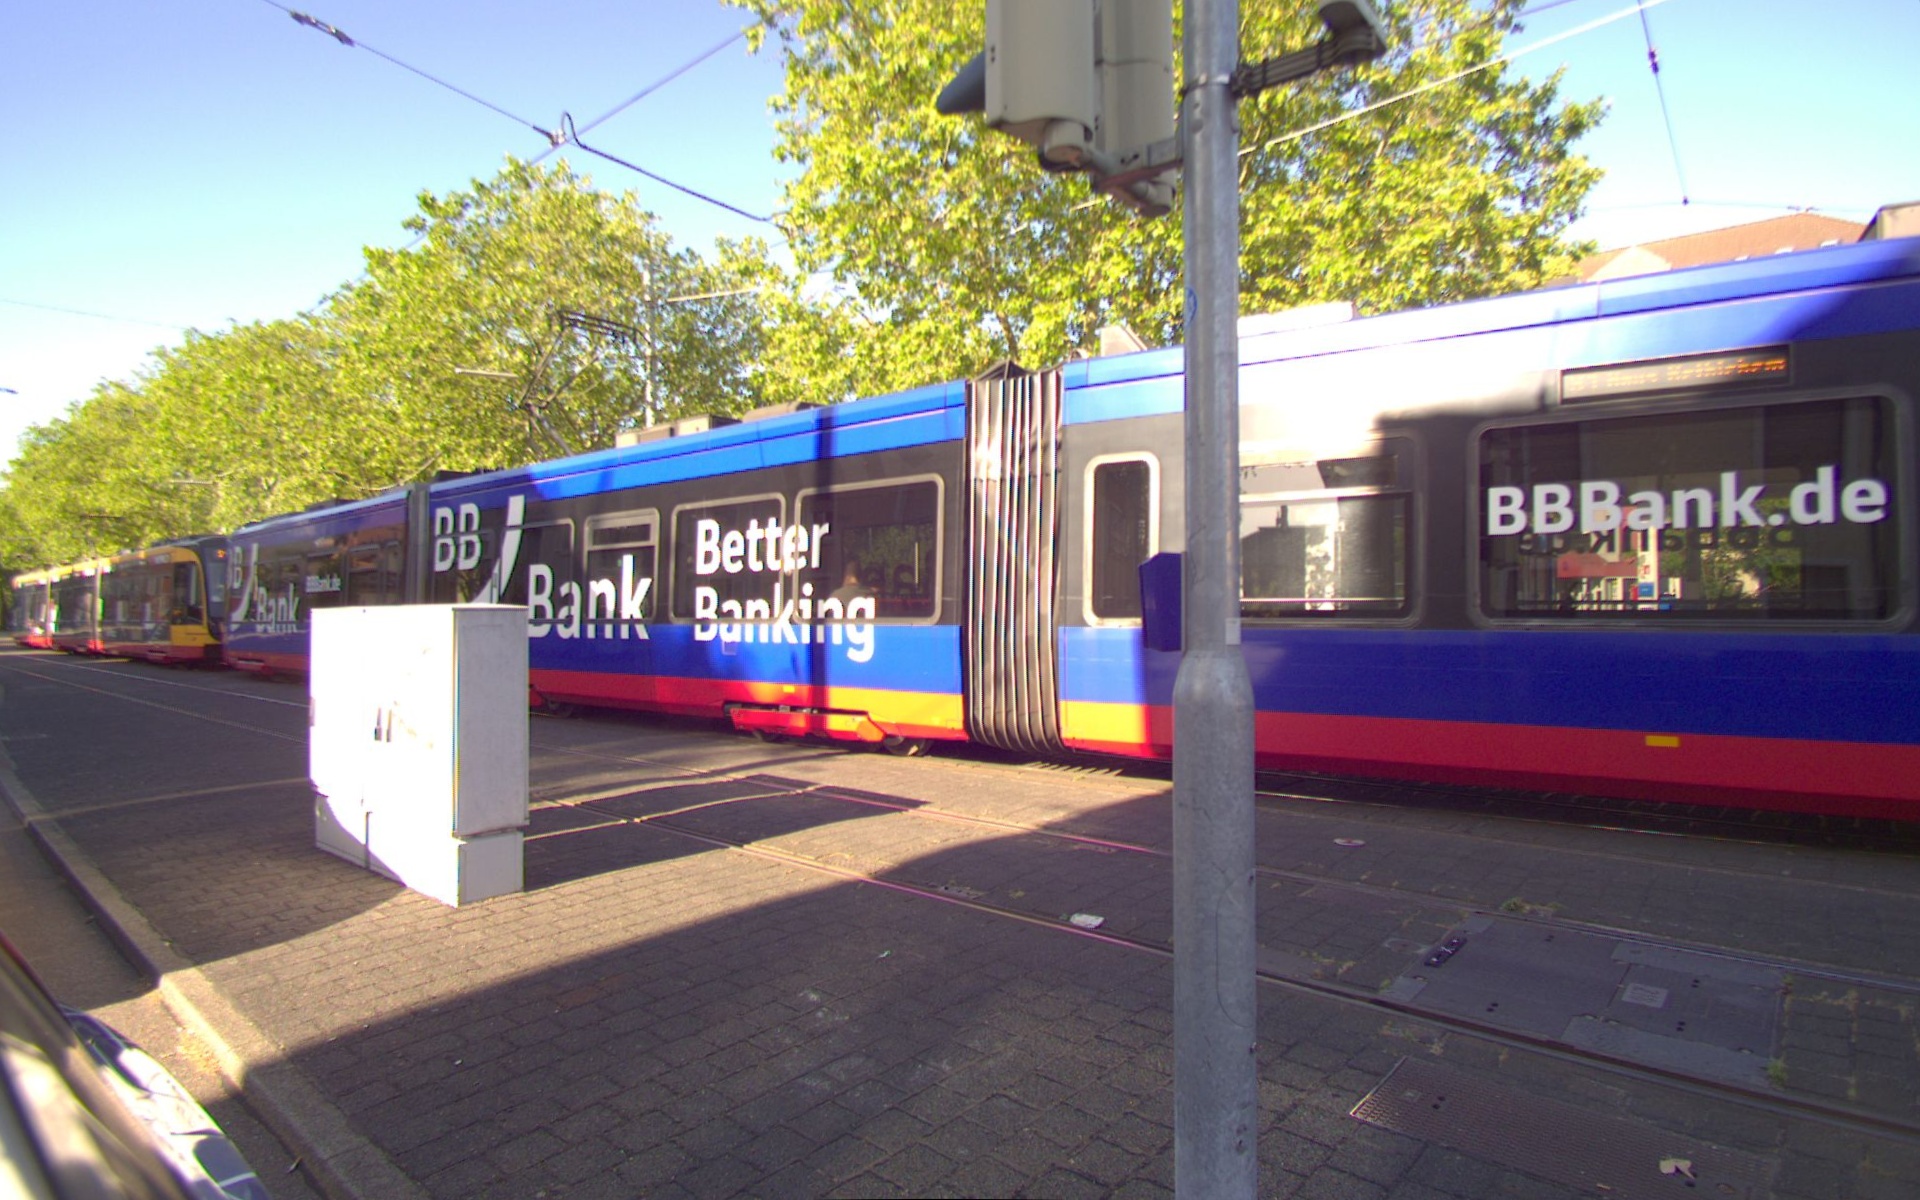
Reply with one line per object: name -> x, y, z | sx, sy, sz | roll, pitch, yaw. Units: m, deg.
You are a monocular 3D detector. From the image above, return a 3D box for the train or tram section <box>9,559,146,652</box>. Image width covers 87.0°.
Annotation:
train or tram section -> -39.327, 0.344, 44.852 | 12.885, 3.640, 3.023 | -1, -2, 42

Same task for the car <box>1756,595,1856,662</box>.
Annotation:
car -> 20.658, 0.671, 24.729 | 1.716, 1.497, 4.162 | -1, -1, 40

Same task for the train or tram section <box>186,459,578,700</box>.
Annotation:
train or tram section -> -12.196, -0.196, 20.417 | 12.107, 3.640, 3.023 | -1, -1, 41

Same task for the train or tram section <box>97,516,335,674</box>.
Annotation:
train or tram section -> -21.257, -0.002, 28.445 | 12.111, 3.640, 3.022 | -1, -2, 42

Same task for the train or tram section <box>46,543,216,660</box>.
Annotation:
train or tram section -> -30.157, 0.166, 36.508 | 11.947, 3.640, 3.022 | -1, -2, 42

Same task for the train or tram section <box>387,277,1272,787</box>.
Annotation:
train or tram section -> -2.831, -0.377, 12.368 | 12.490, 3.640, 3.025 | -1, -1, 40

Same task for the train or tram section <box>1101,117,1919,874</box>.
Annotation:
train or tram section -> 6.921, -0.516, 5.238 | 12.069, 3.640, 3.033 | -1, -1, 31
